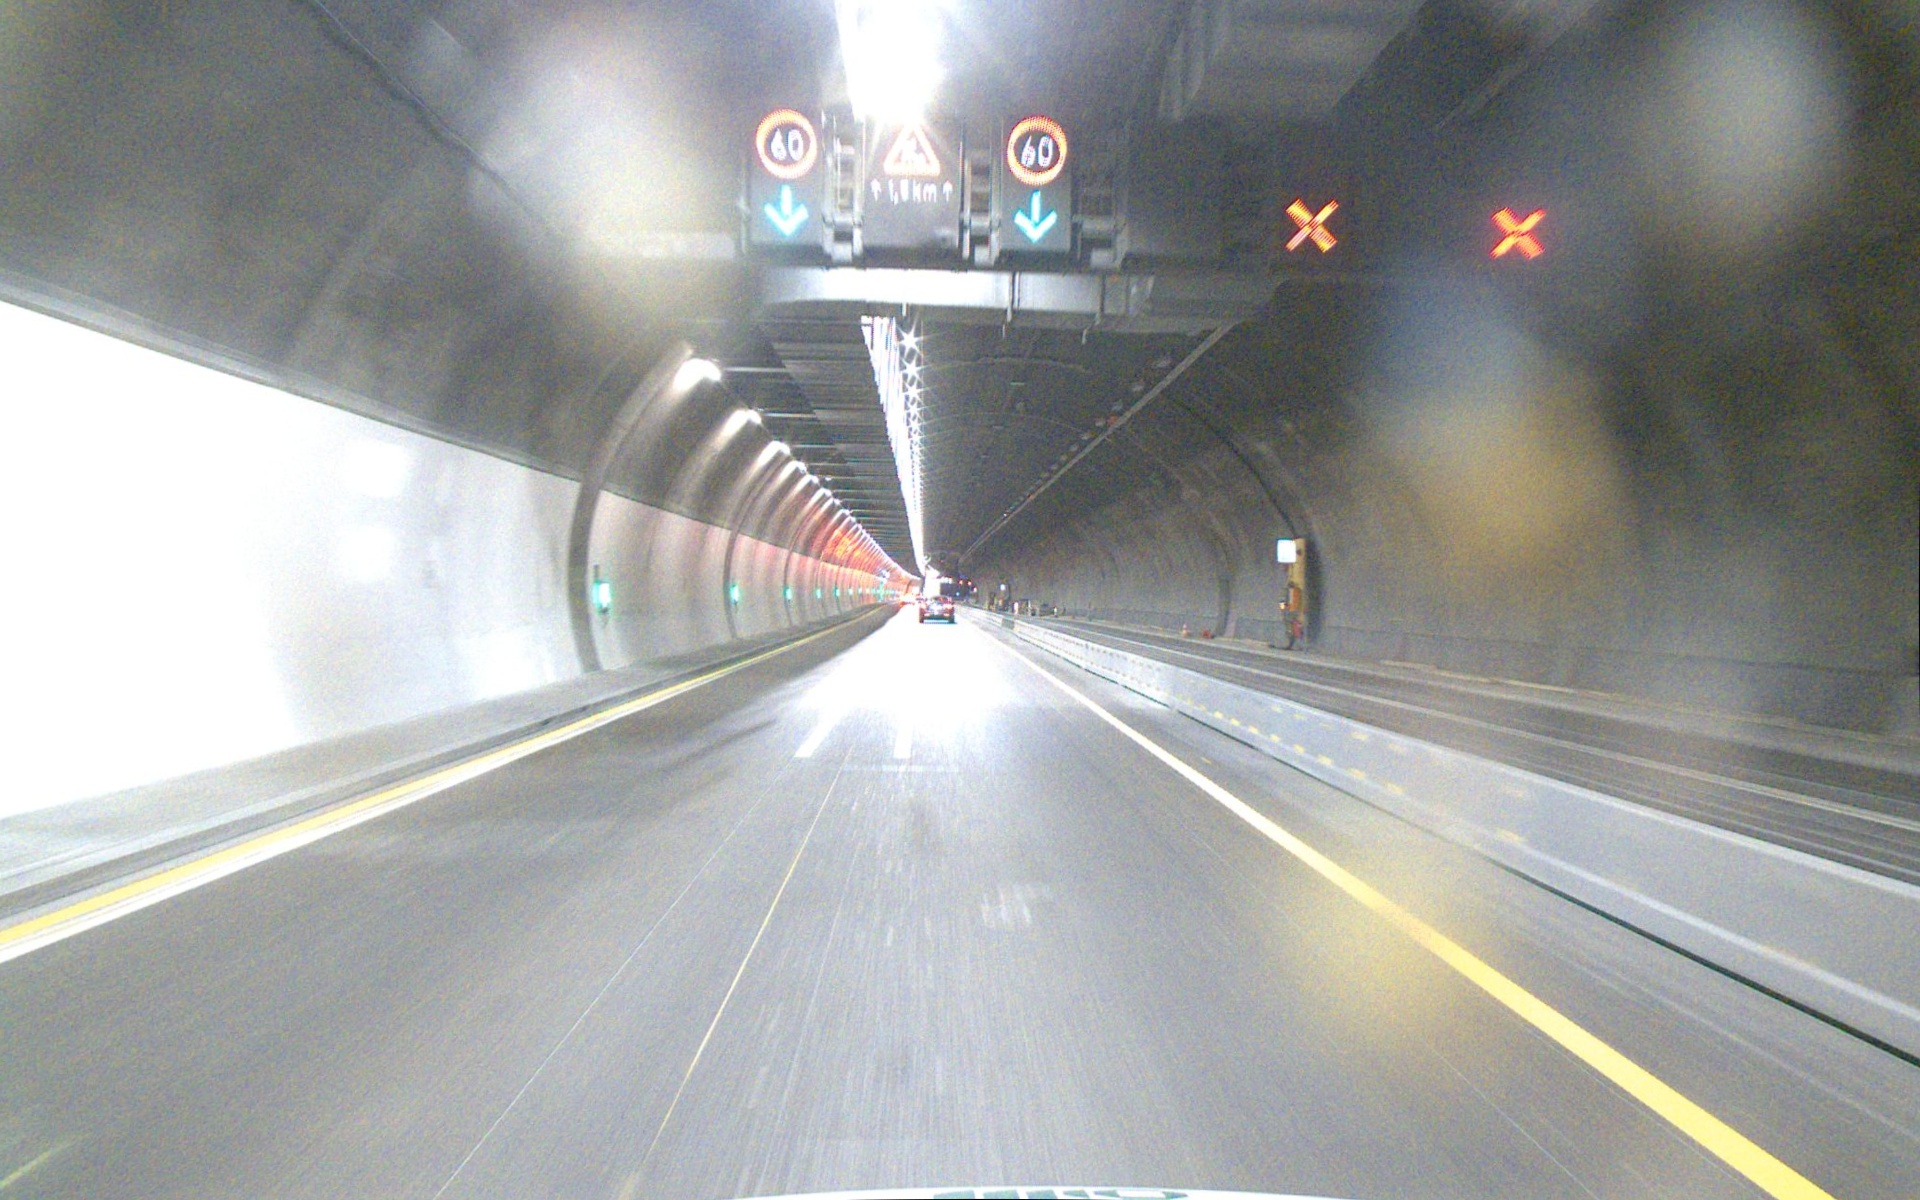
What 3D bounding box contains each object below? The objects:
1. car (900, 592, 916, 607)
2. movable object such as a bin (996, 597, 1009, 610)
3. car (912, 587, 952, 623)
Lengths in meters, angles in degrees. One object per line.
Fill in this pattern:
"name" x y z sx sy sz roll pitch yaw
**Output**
"car" -6.151 -0.022 196.094 1.891 1.716 3.999 0 0 -2
"movable object such as a bin" 4.745 0.399 184.730 1.210 1.467 2.216 2 0 -2
"car" -1.479 0.246 86.268 1.908 1.826 3.997 0 0 -4
